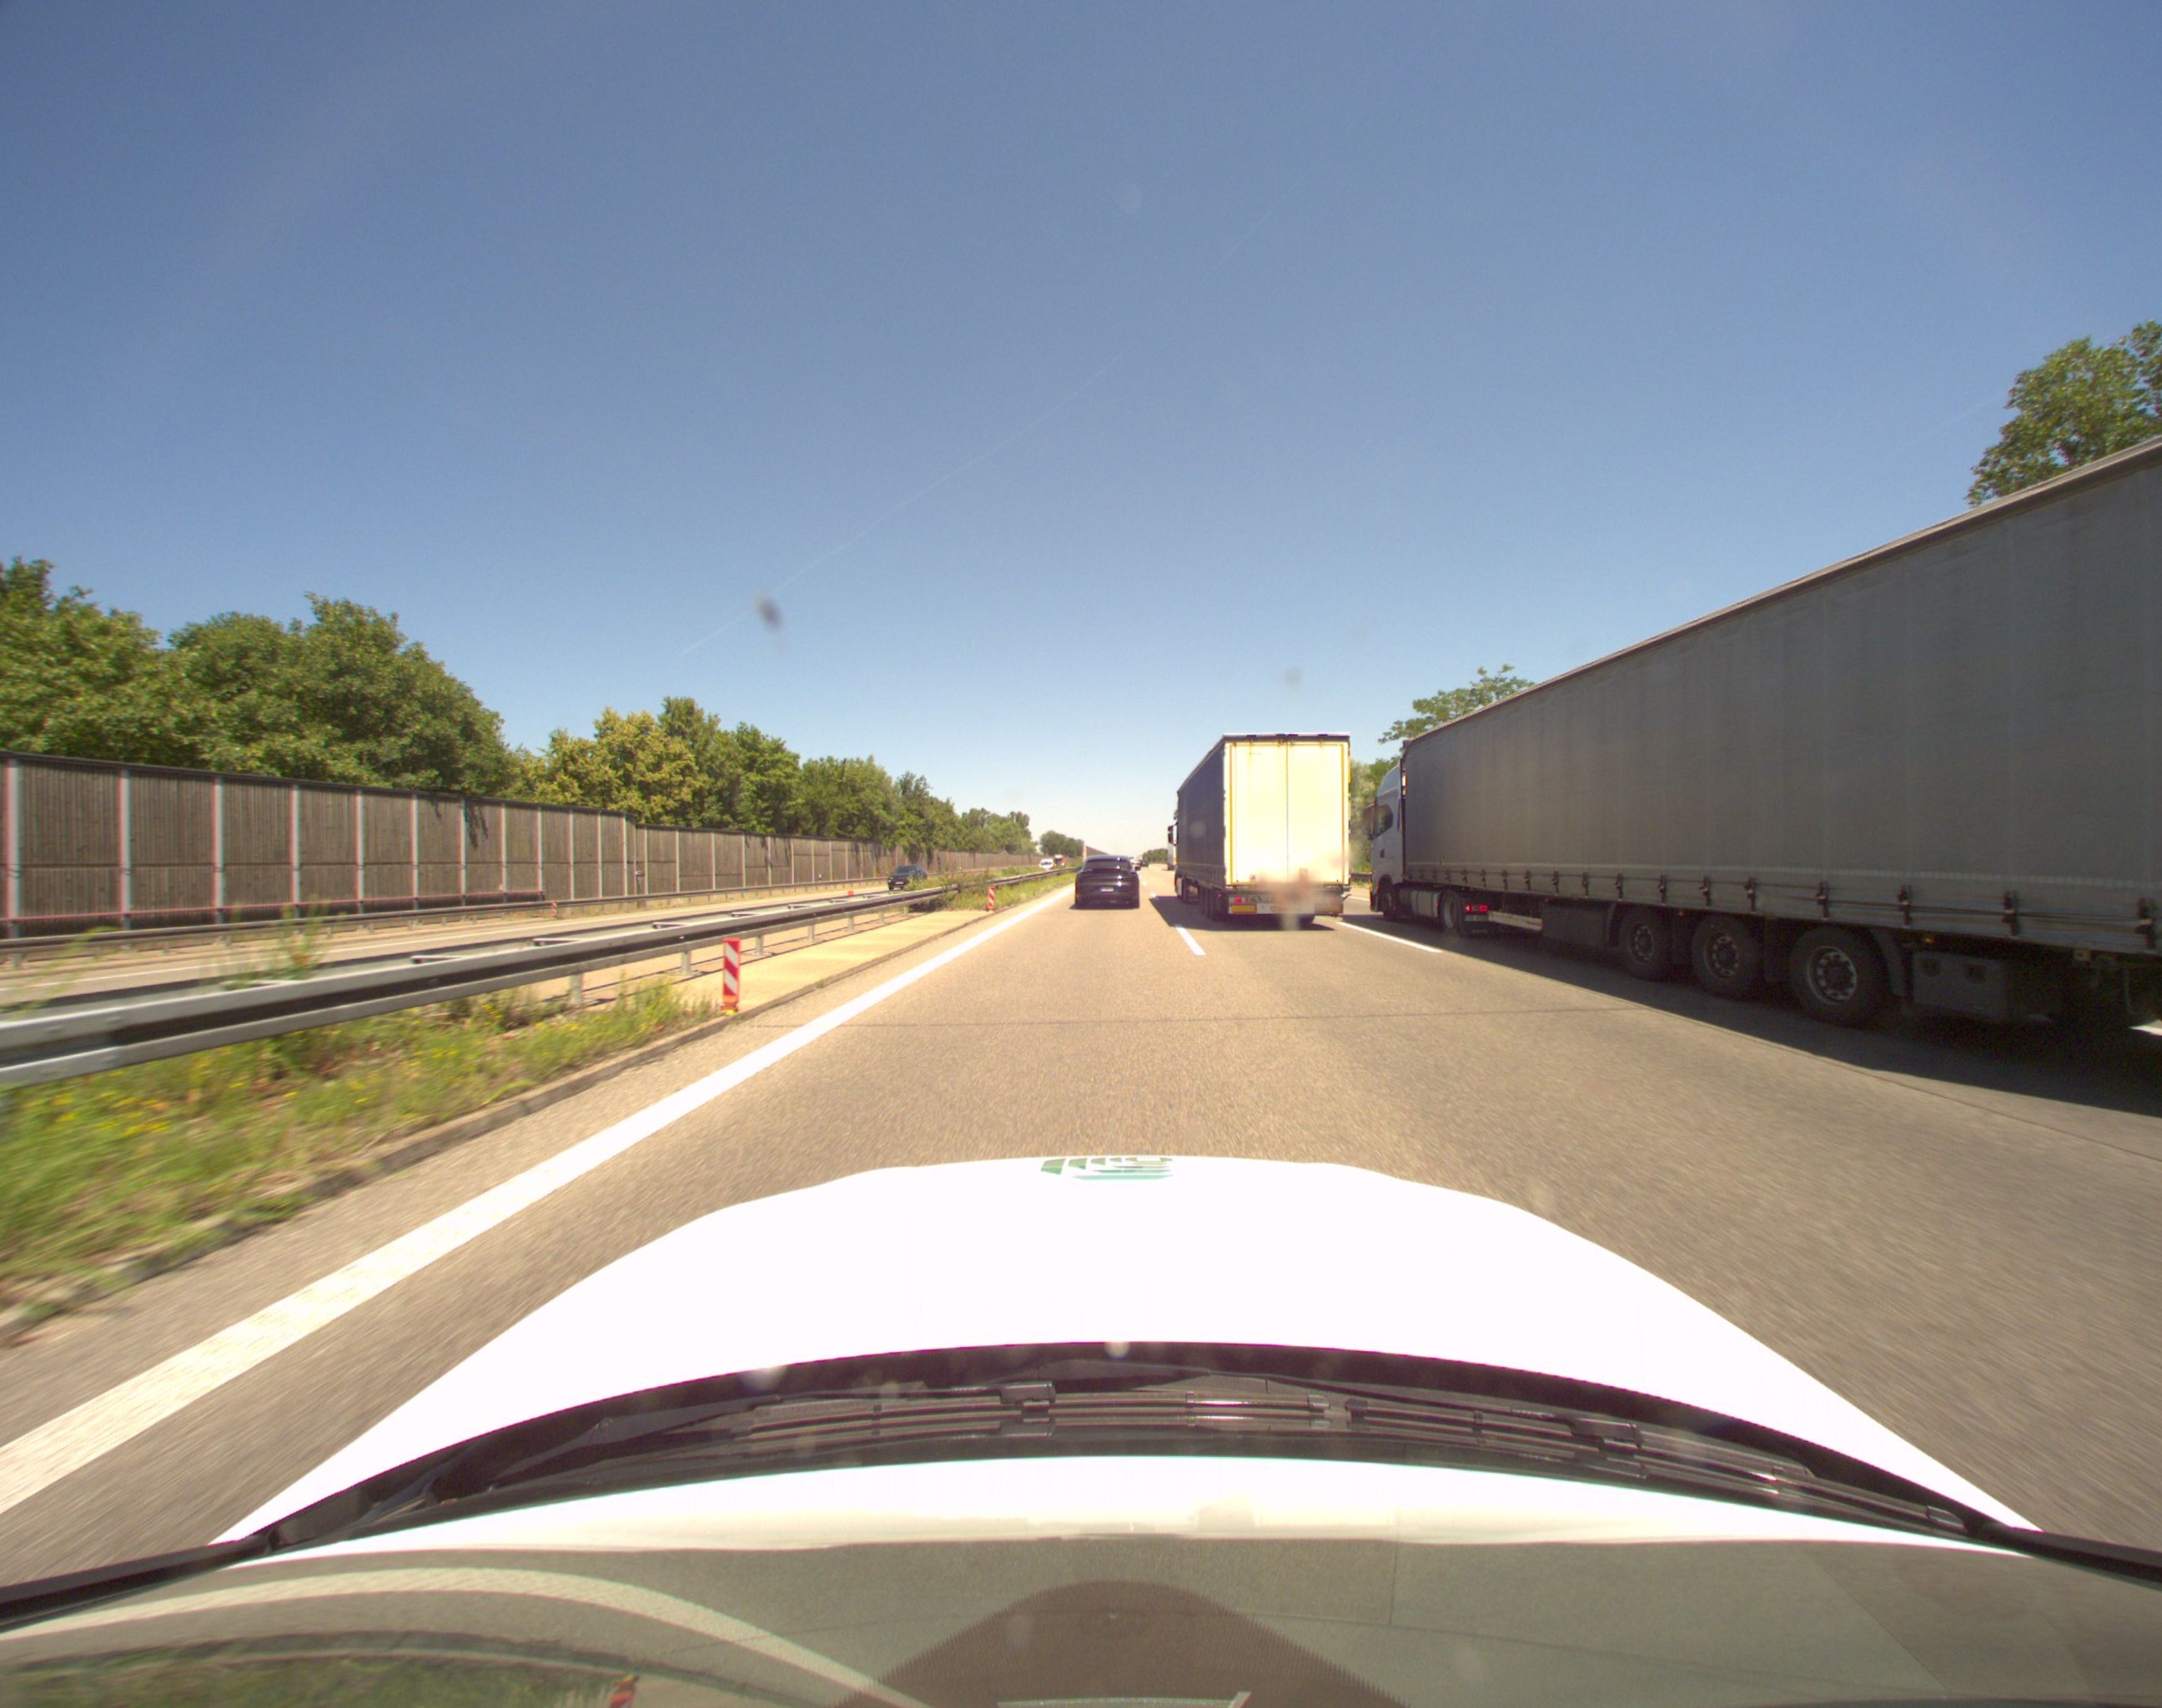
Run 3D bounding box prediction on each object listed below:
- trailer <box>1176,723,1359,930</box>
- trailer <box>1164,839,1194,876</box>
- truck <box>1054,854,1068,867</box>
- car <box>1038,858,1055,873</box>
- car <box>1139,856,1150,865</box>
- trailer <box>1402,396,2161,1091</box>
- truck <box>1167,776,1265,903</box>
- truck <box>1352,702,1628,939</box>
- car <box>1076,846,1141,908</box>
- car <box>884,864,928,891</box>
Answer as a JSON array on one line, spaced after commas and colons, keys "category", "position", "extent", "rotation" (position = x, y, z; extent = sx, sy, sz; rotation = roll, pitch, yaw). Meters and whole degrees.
[{"category": "trailer", "position": [4.434, -0.497, 22.356], "extent": [2.690, 4.118, 12.138], "rotation": [0, 0, 2]}, {"category": "trailer", "position": [13.315, 0.495, 111.983], "extent": [3.255, 4.837, 14.041], "rotation": [0, -1, 4]}, {"category": "truck", "position": [-5.465, 1.855, 222.746], "extent": [2.688, 3.492, 10.863], "rotation": [0, 0, 4]}, {"category": "car", "position": [-4.353, 1.480, 103.658], "extent": [1.775, 1.840, 4.562], "rotation": [-2, 0, 2]}, {"category": "car", "position": [11.651, 1.165, 149.593], "extent": [1.895, 1.584, 4.307], "rotation": [-2, -2, 3]}, {"category": "trailer", "position": [8.003, -0.616, 10.845], "extent": [2.690, 4.118, 13.247], "rotation": [0, 0, 2]}, {"category": "truck", "position": [4.763, -0.437, 29.984], "extent": [2.690, 4.118, 6.994], "rotation": [0, -1, 2]}, {"category": "truck", "position": [8.298, -0.563, 17.710], "extent": [2.690, 4.118, 6.994], "rotation": [0, -1, 2]}, {"category": "car", "position": [0.869, 0.678, 26.027], "extent": [1.873, 1.792, 4.001], "rotation": [-1, 0, 2]}, {"category": "car", "position": [-11.833, 1.564, 55.299], "extent": [1.873, 1.692, 4.551], "rotation": [-1, 0, 2]}]
